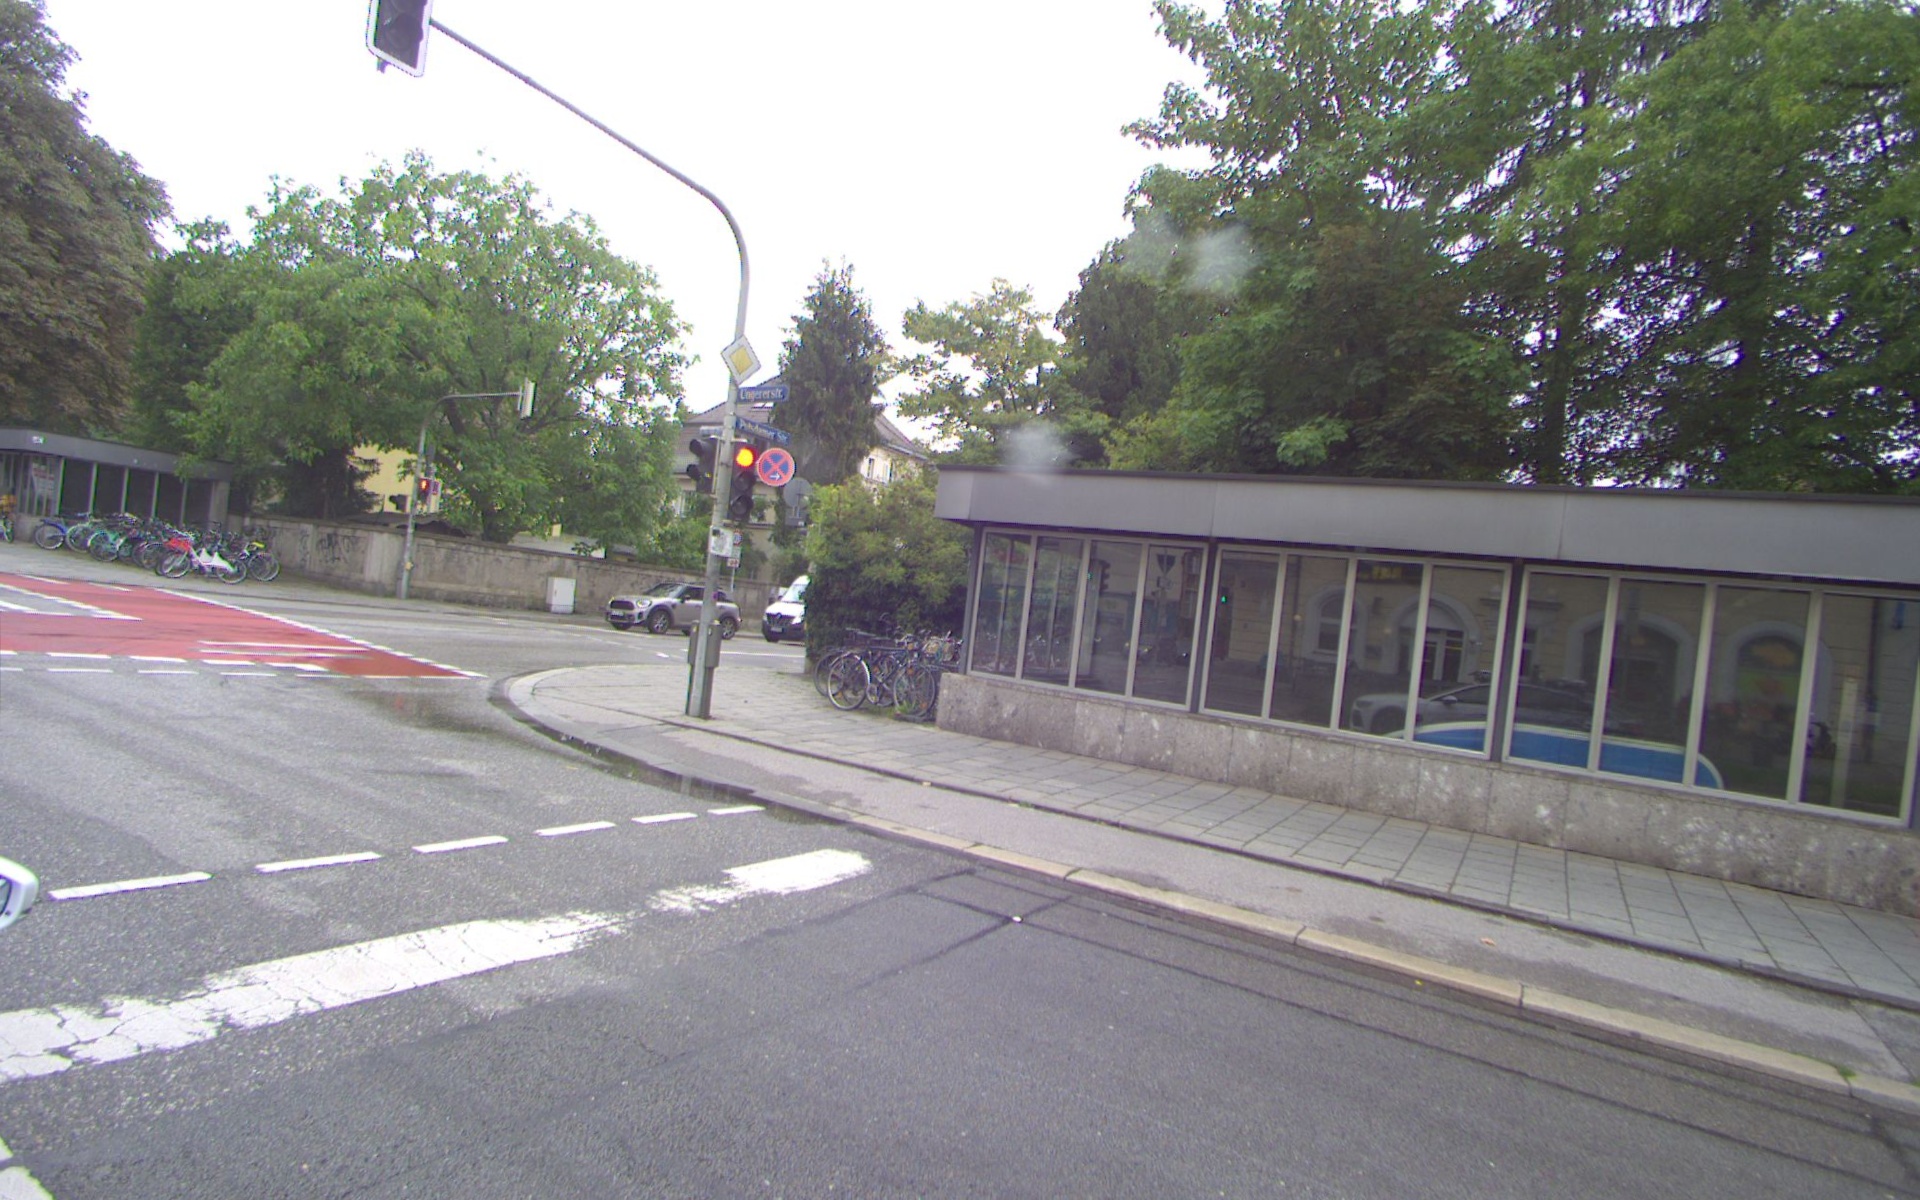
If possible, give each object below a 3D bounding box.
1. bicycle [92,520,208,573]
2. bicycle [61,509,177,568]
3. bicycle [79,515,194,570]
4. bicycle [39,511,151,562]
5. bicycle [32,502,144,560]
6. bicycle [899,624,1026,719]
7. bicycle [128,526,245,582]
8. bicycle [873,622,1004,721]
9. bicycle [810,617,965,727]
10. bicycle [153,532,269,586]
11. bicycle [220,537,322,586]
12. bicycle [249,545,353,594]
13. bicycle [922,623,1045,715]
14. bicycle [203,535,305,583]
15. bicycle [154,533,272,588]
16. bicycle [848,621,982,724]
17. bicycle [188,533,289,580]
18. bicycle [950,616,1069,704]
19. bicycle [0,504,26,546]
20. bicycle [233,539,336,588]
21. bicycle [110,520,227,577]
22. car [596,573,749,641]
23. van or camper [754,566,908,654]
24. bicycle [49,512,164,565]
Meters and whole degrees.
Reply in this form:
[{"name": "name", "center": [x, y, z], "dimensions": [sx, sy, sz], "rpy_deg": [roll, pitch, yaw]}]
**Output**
[{"name": "bicycle", "center": [-20.393, -1.337, 25.382], "dimensions": [0.594, 1.026, 2.141], "rpy_deg": [7, 0, 39]}, {"name": "bicycle", "center": [-21.692, -1.576, 25.990], "dimensions": [0.594, 1.192, 2.141], "rpy_deg": [7, 0, 39]}, {"name": "bicycle", "center": [-21.016, -1.446, 25.723], "dimensions": [0.594, 1.099, 2.141], "rpy_deg": [7, 0, 39]}, {"name": "bicycle", "center": [-23.016, -1.682, 26.805], "dimensions": [0.594, 1.026, 2.141], "rpy_deg": [7, 0, 39]}, {"name": "bicycle", "center": [-23.566, -1.851, 27.218], "dimensions": [0.594, 1.233, 2.141], "rpy_deg": [7, 0, 39]}, {"name": "bicycle", "center": [0.023, 0.999, 14.334], "dimensions": [1.707, 1.135, 0.469], "rpy_deg": [6, 0, 32]}, {"name": "bicycle", "center": [-19.123, -1.117, 24.906], "dimensions": [0.594, 1.084, 2.141], "rpy_deg": [7, 0, 39]}, {"name": "bicycle", "center": [-0.315, 0.967, 13.786], "dimensions": [1.707, 1.135, 0.469], "rpy_deg": [6, 0, 32]}, {"name": "bicycle", "center": [-0.934, 0.888, 12.717], "dimensions": [1.858, 1.135, 0.600], "rpy_deg": [6, 0, 32]}, {"name": "bicycle", "center": [-18.342, -0.997, 24.681], "dimensions": [0.625, 1.026, 2.141], "rpy_deg": [7, 0, 39]}, {"name": "bicycle", "center": [-18.787, -1.035, 27.479], "dimensions": [0.625, 1.026, 2.141], "rpy_deg": [7, 0, 39]}, {"name": "bicycle", "center": [-17.472, -0.787, 26.712], "dimensions": [0.625, 1.026, 2.141], "rpy_deg": [7, 0, 39]}, {"name": "bicycle", "center": [0.334, 1.002, 14.849], "dimensions": [1.707, 1.135, 0.469], "rpy_deg": [6, 0, 32]}, {"name": "bicycle", "center": [-19.490, -1.118, 27.818], "dimensions": [0.625, 1.026, 2.141], "rpy_deg": [7, 0, 39]}, {"name": "bicycle", "center": [-17.927, -0.941, 24.189], "dimensions": [0.594, 1.026, 2.141], "rpy_deg": [7, 0, 39]}, {"name": "bicycle", "center": [-0.612, 0.935, 13.287], "dimensions": [1.707, 1.135, 0.469], "rpy_deg": [6, 0, 32]}, {"name": "bicycle", "center": [-20.171, -1.197, 28.176], "dimensions": [0.625, 1.026, 2.141], "rpy_deg": [7, 0, 39]}, {"name": "bicycle", "center": [0.750, 0.912, 15.495], "dimensions": [1.707, 1.135, 0.469], "rpy_deg": [6, 0, 32]}, {"name": "bicycle", "center": [-26.315, -2.098, 27.460], "dimensions": [1.981, 1.027, 0.557], "rpy_deg": [7, 0, 30]}, {"name": "bicycle", "center": [-18.150, -0.967, 27.078], "dimensions": [0.625, 1.026, 2.141], "rpy_deg": [7, 0, 39]}, {"name": "bicycle", "center": [-19.731, -1.263, 25.125], "dimensions": [0.594, 1.114, 2.141], "rpy_deg": [7, 0, 39]}, {"name": "car", "center": [-8.407, 0.238, 29.736], "dimensions": [1.668, 1.532, 4.172], "rpy_deg": [7, -1, 33]}, {"name": "van or camper", "center": [-4.383, 0.428, 35.241], "dimensions": [2.033, 2.499, 5.558], "rpy_deg": [7, -1, 33]}, {"name": "bicycle", "center": [-22.299, -1.585, 26.326], "dimensions": [0.594, 1.075, 2.141], "rpy_deg": [7, 0, 39]}]
